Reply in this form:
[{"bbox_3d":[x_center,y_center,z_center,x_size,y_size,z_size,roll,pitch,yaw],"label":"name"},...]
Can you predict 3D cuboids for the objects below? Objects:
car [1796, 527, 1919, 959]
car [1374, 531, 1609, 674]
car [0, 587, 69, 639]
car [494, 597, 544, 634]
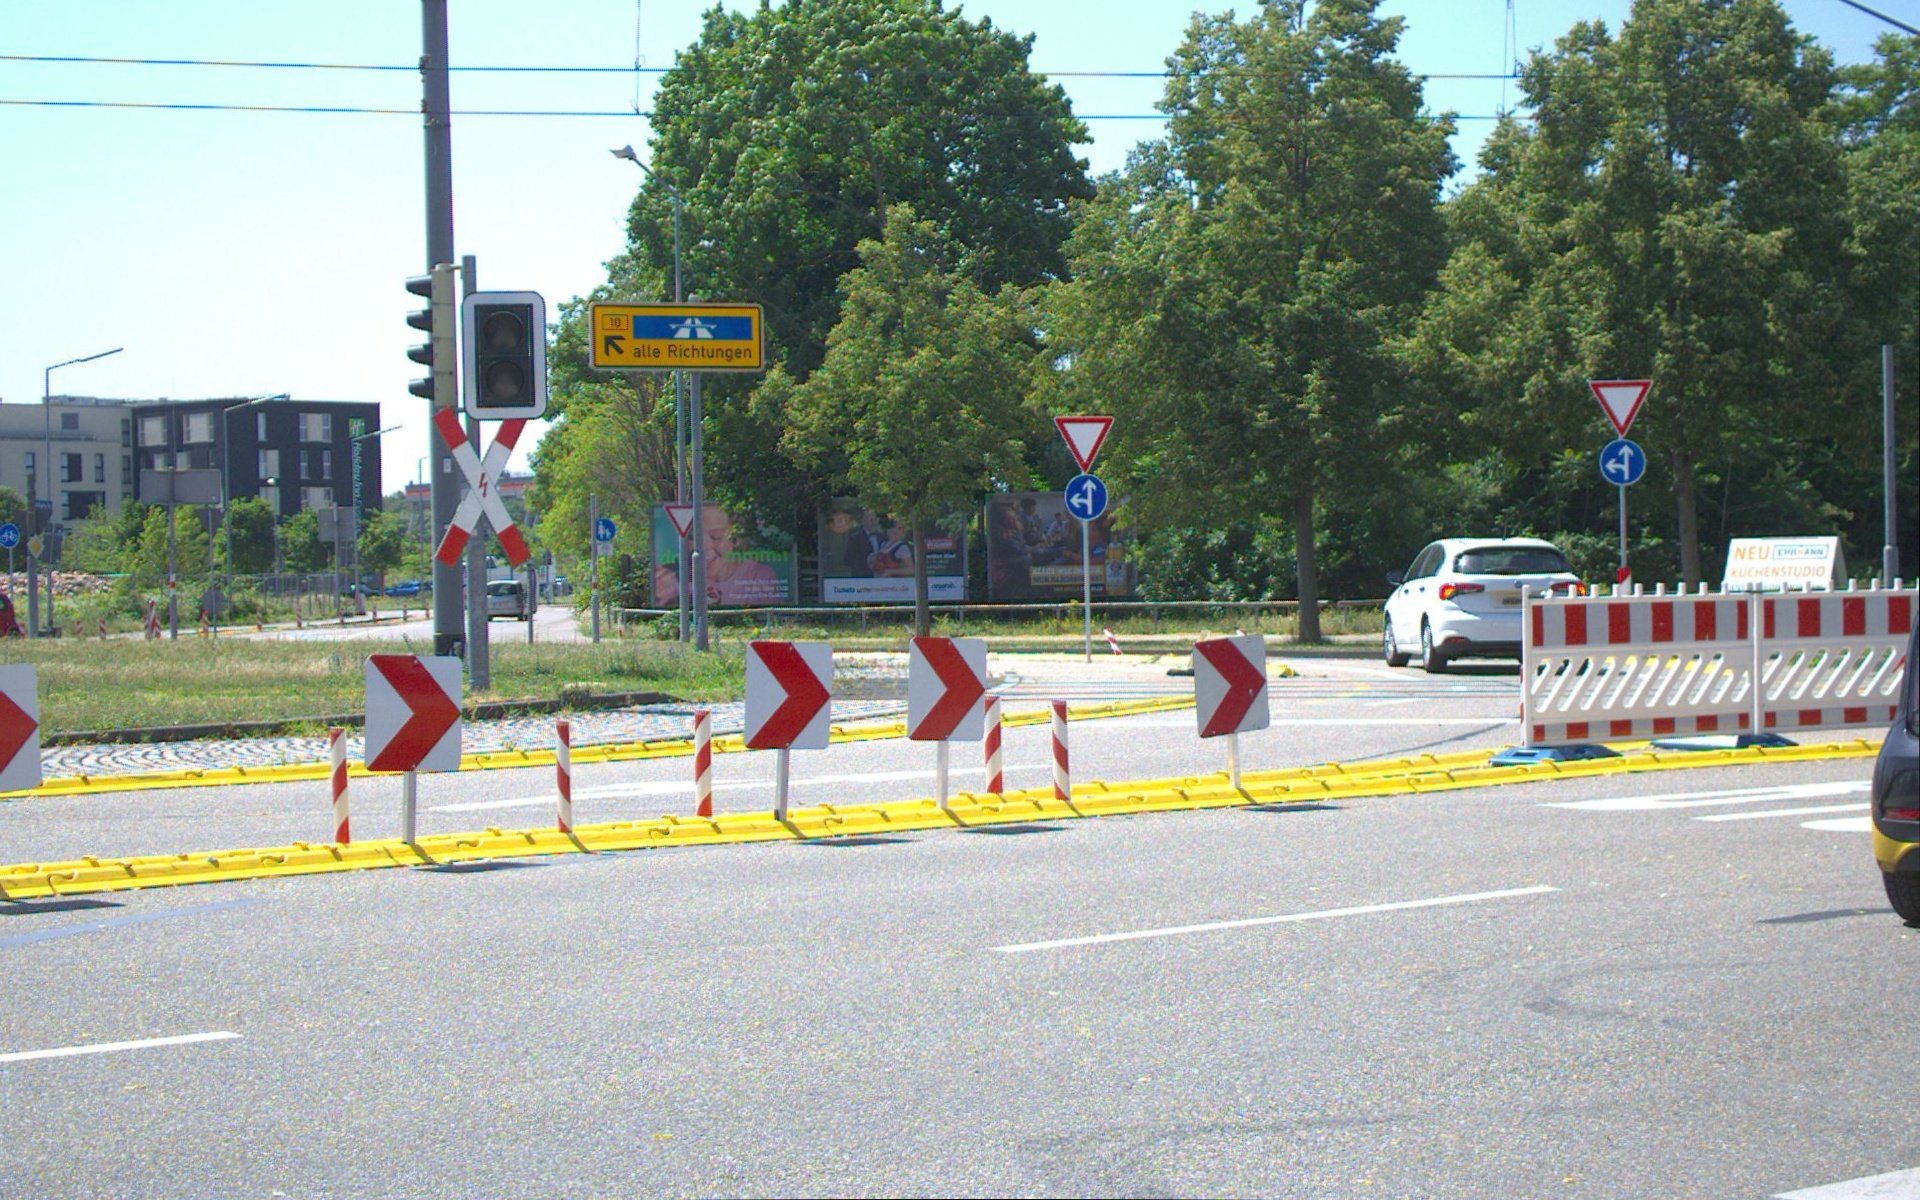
[{"bbox_3d":[4.729,0.474,12.875,1.622,1.446,3.978,0,0,38],"label":"car"},{"bbox_3d":[5.894,0.005,38.622,1.993,1.481,4.367,-1,1,1],"label":"car"},{"bbox_3d":[-21.259,0.293,75.292,1.495,1.086,3.516,0,1,24],"label":"car"},{"bbox_3d":[-17.280,0.603,134.783,1.658,1.368,3.032,-1,1,-2],"label":"car"}]
